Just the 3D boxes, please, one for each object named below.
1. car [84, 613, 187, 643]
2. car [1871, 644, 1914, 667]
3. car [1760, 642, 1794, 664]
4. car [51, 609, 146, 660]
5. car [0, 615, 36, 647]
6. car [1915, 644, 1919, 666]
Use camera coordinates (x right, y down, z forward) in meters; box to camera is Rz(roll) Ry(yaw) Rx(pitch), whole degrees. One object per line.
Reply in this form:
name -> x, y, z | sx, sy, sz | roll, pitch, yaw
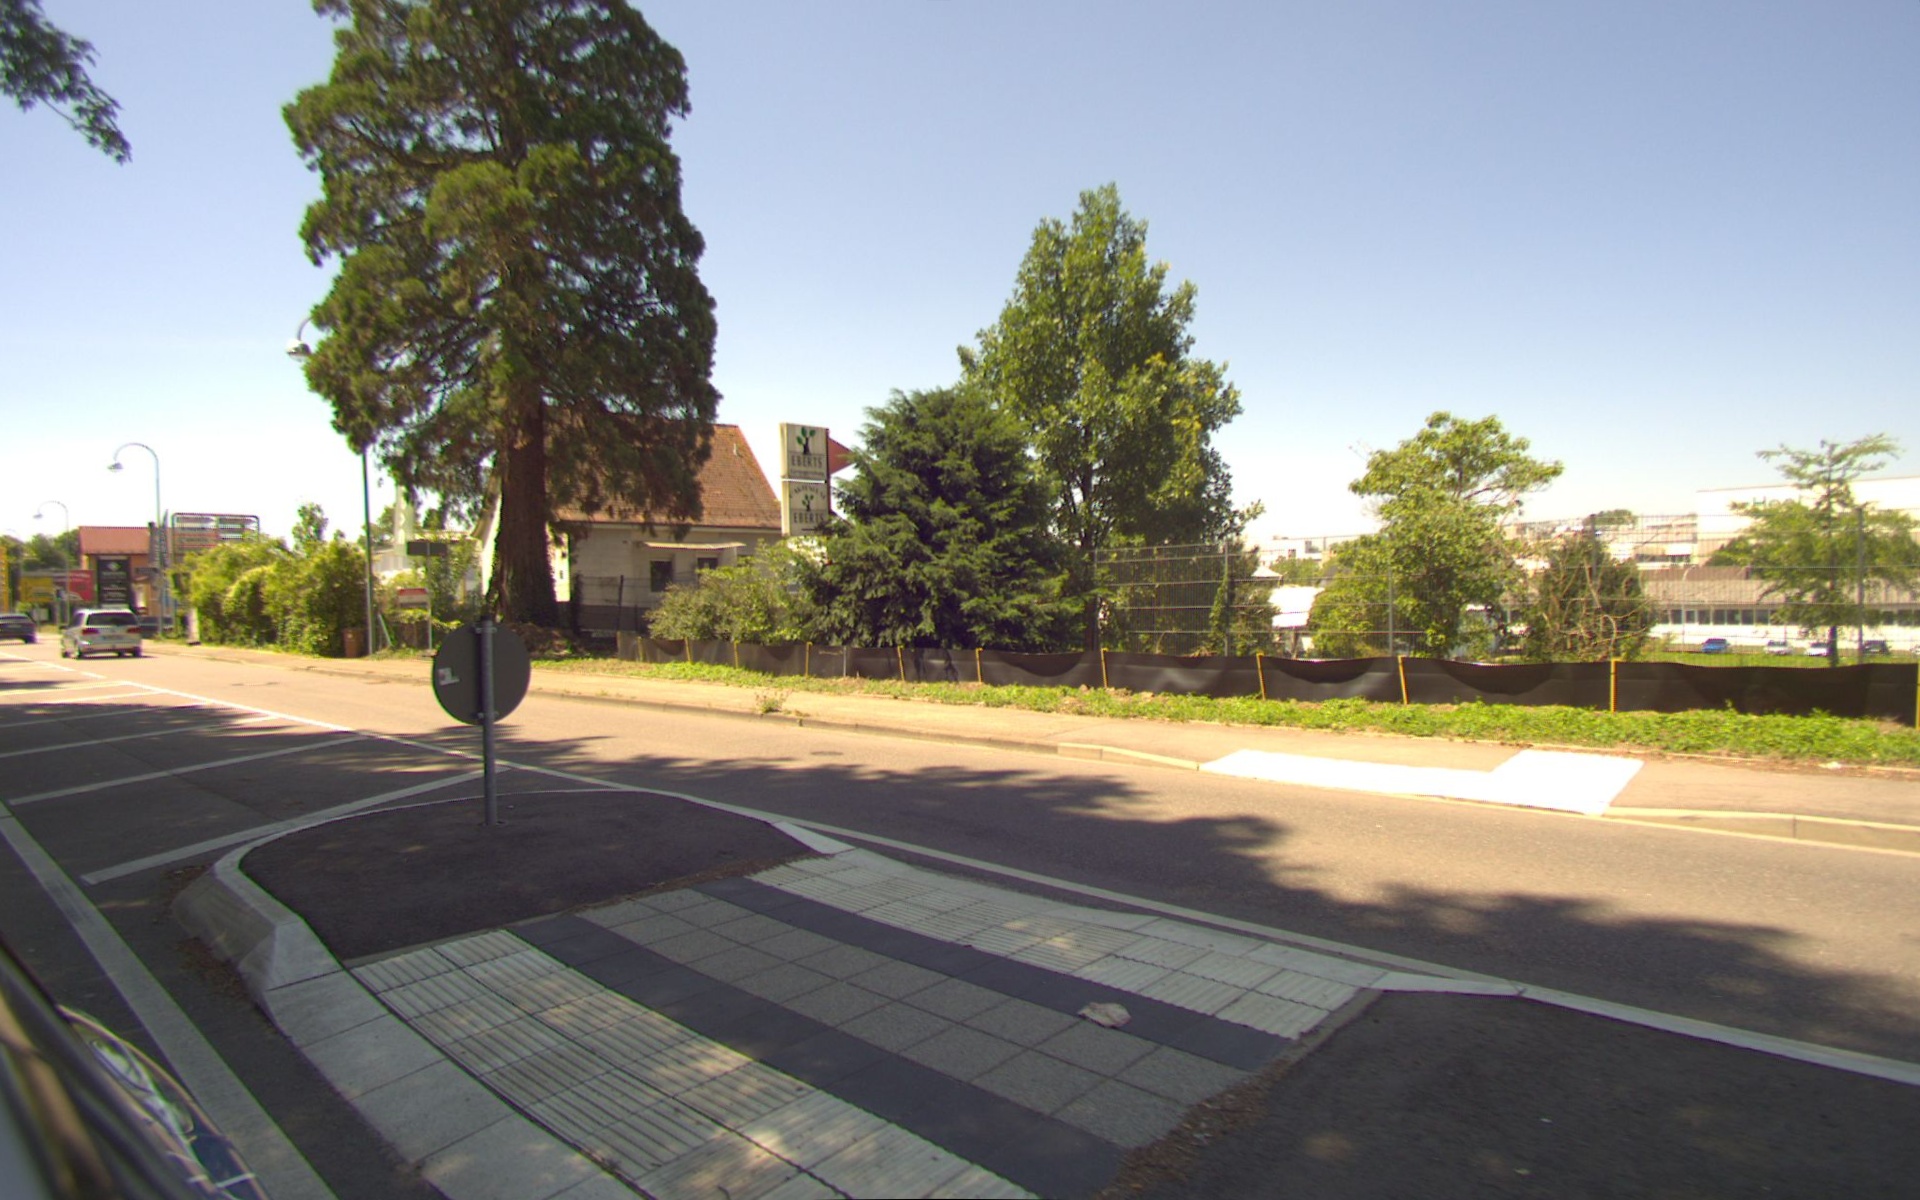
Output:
car -> -46.631, 1.557, 57.338 | 4.247, 1.561, 1.891 | -1, 0, -30
car -> 70.382, 4.182, 76.443 | 1.997, 1.519, 3.949 | -1, 0, 38
car -> 65.696, 4.241, 81.400 | 1.997, 1.519, 3.949 | -1, 0, 38
car -> -29.795, 1.163, 34.946 | 4.685, 1.657, 1.765 | -1, -1, 40
car -> -49.372, 1.599, 52.343 | 4.318, 1.561, 1.860 | -1, 0, 41
car -> 72.717, 4.145, 75.327 | 1.997, 1.519, 3.949 | -1, 0, 38
